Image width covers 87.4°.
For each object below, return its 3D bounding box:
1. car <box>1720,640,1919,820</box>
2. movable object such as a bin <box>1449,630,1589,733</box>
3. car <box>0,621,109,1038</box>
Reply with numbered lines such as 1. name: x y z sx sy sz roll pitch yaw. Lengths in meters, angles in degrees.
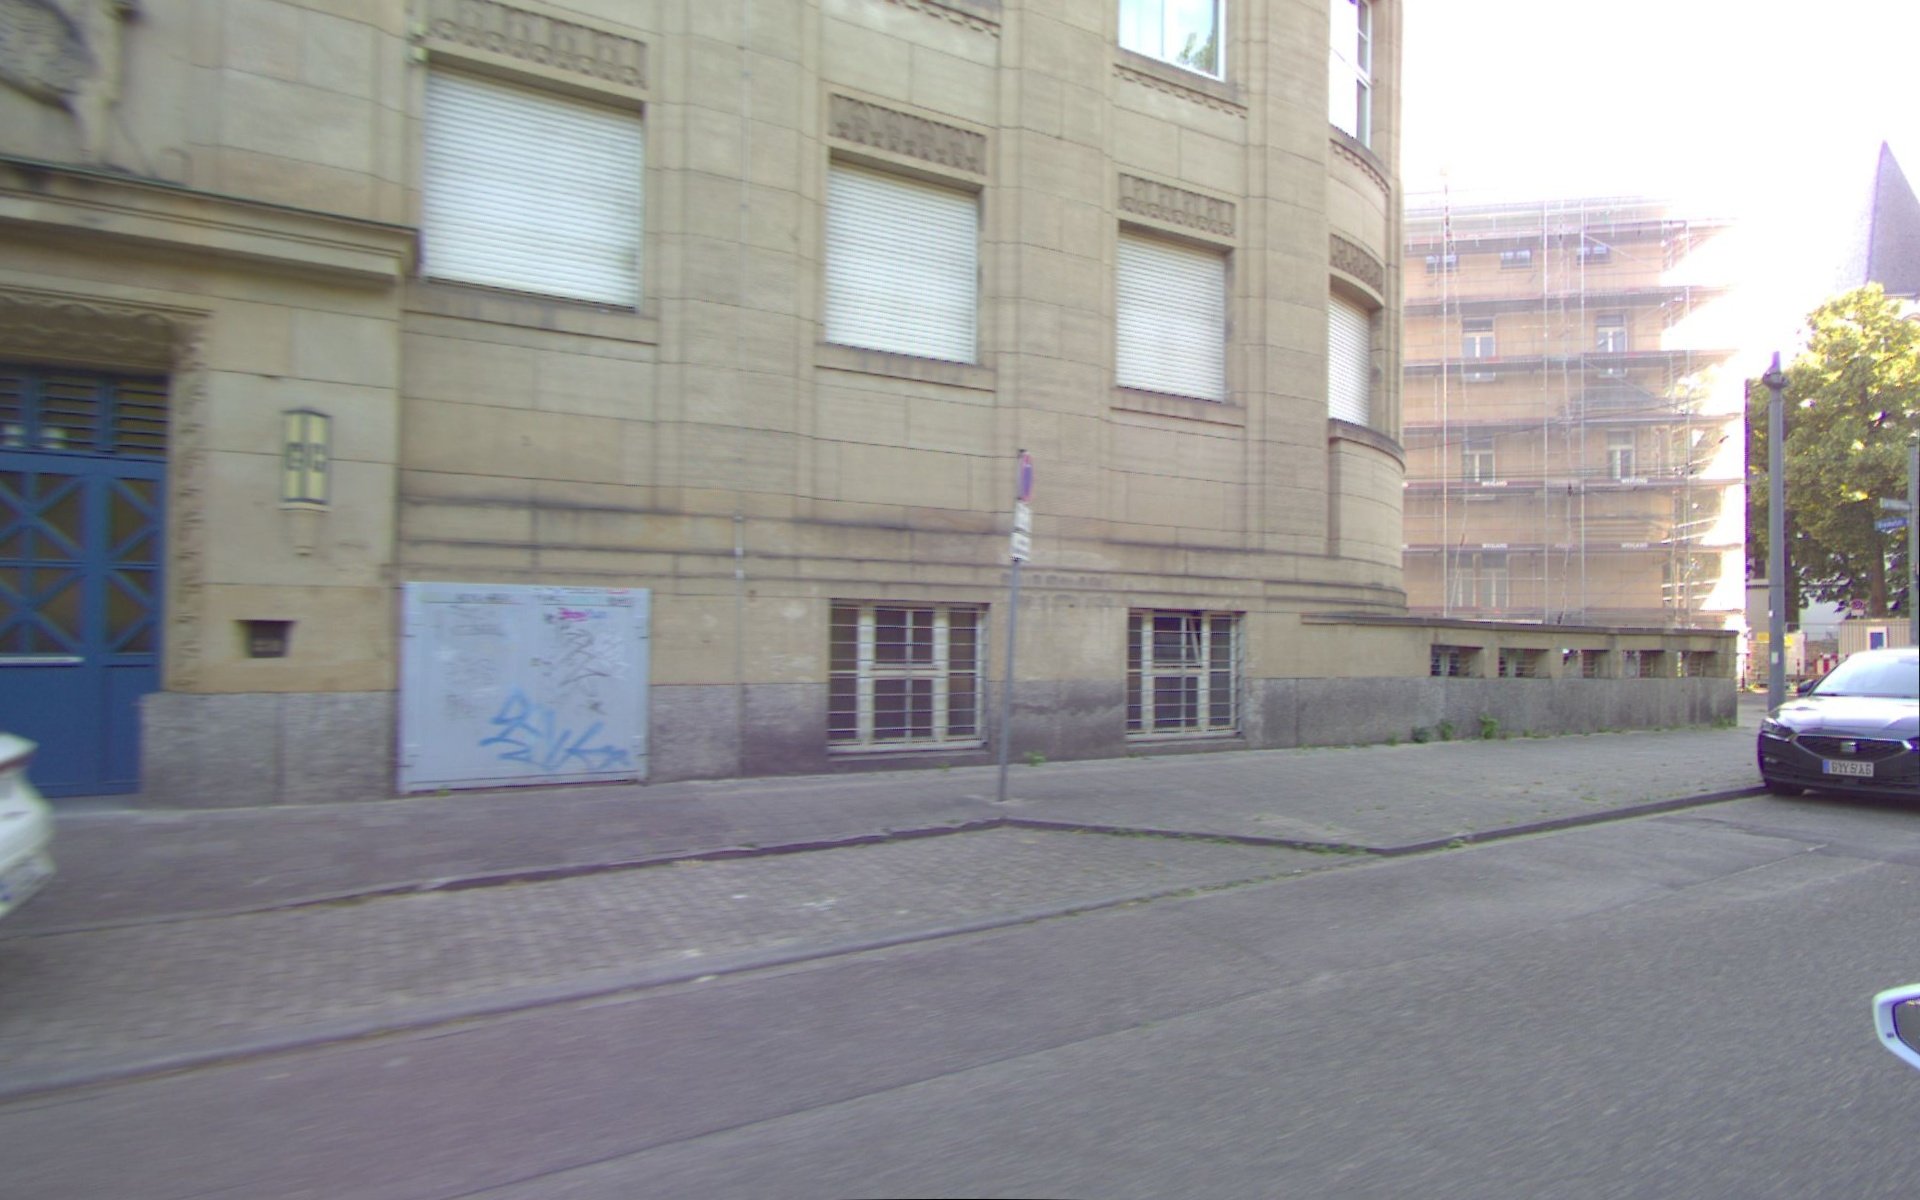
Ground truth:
1. car: 9.438 1.152 9.811 4.158 1.467 1.736 2 -2 -30
2. movable object such as a bin: 8.701 1.235 15.667 1.603 1.505 1.144 1 -2 -20
3. car: -5.626 0.768 2.935 4.508 1.454 1.735 2 -1 -31
